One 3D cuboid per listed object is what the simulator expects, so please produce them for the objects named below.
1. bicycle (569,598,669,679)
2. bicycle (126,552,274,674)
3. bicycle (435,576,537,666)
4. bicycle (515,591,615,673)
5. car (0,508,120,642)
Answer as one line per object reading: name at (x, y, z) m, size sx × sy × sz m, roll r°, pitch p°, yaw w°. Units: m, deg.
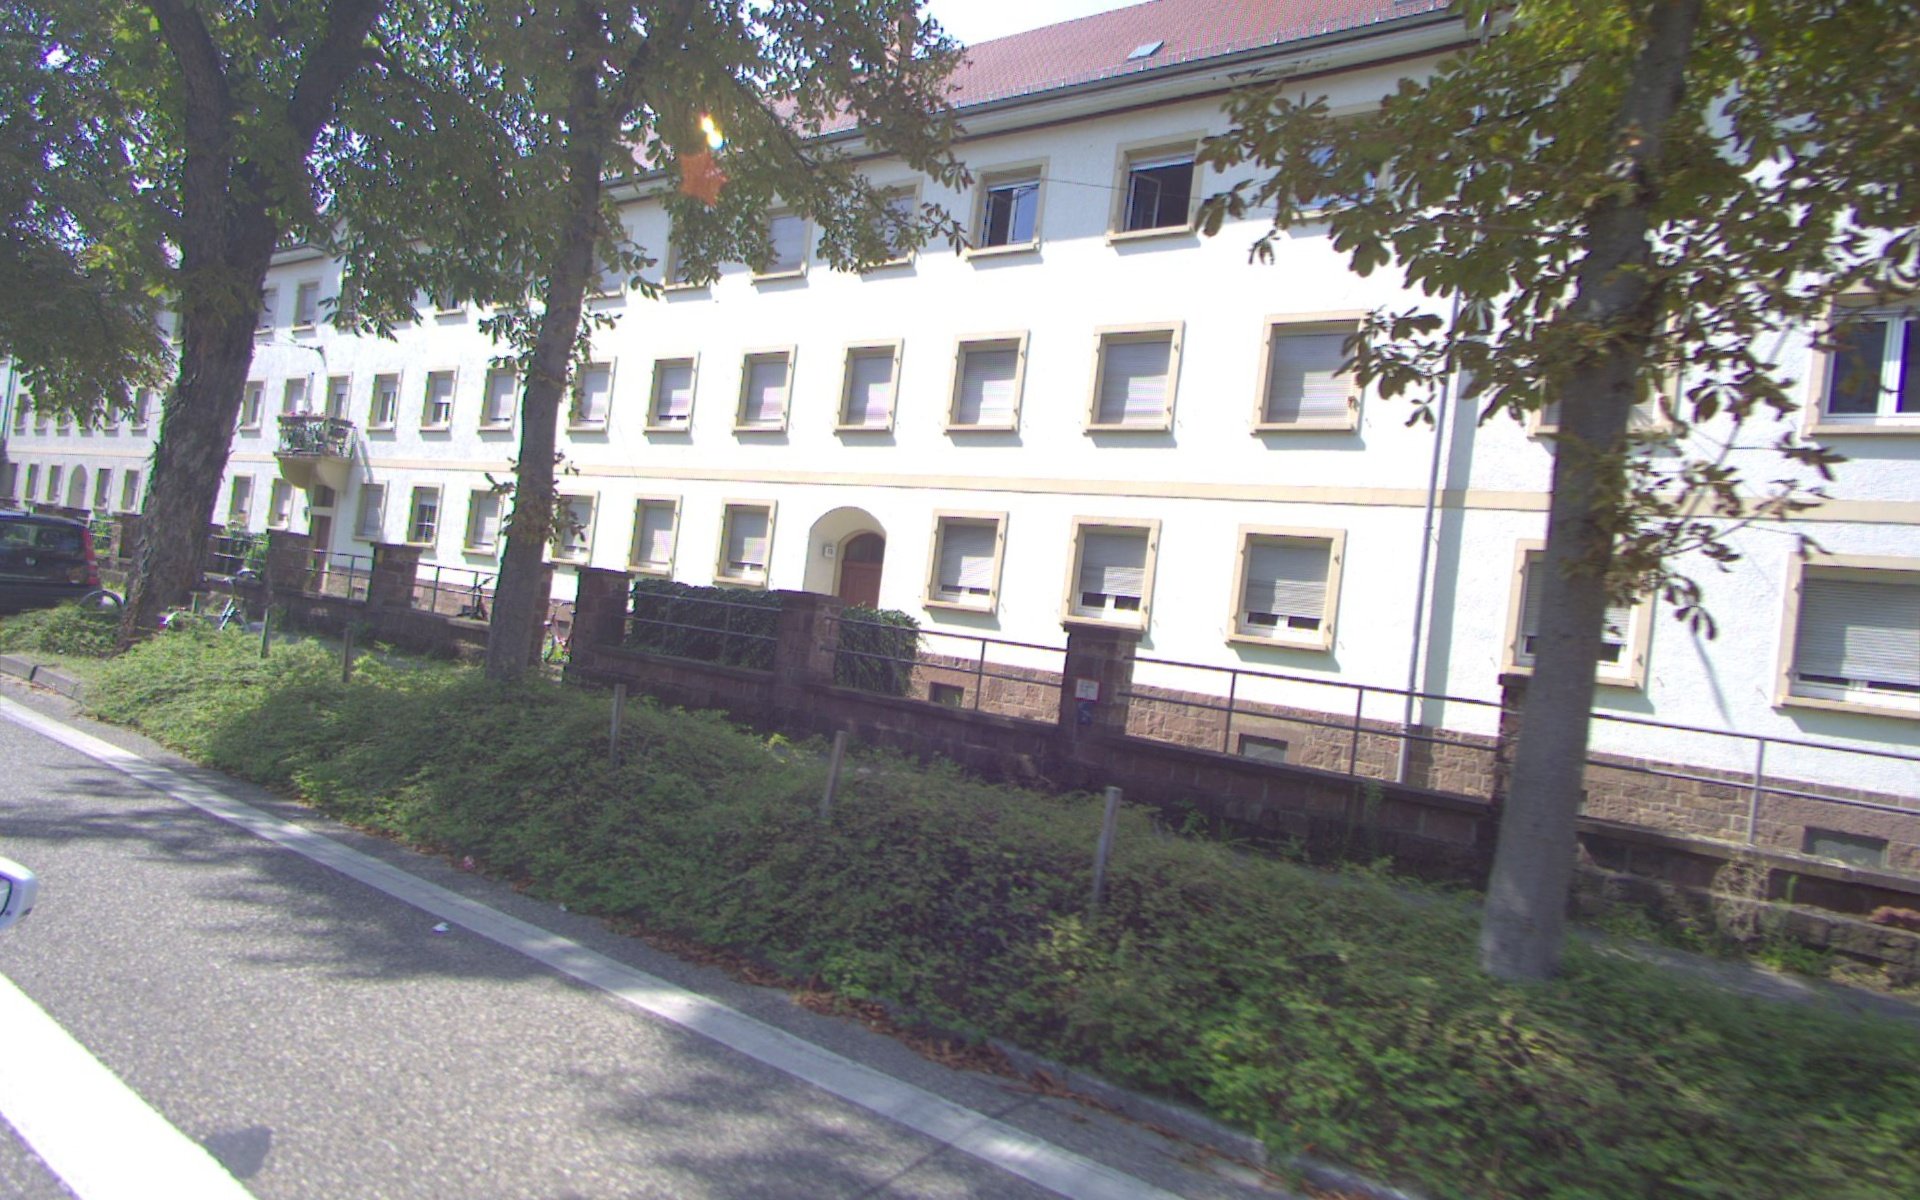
bicycle at (-5.584, 0.614, 16.430) m, size 1.689 × 1.106 × 0.469 m, roll 6°, pitch -1°, yaw 32°
bicycle at (-7.781, 0.146, 10.365) m, size 0.382 × 1.121 × 1.392 m, roll 7°, pitch -1°, yaw -3°
bicycle at (-7.343, 0.314, 15.557) m, size 1.689 × 1.174 × 0.469 m, roll 6°, pitch -1°, yaw 32°
bicycle at (-6.354, 0.498, 16.151) m, size 1.689 × 1.106 × 0.469 m, roll 6°, pitch -1°, yaw 32°
car at (-12.824, -0.442, 13.534) m, size 3.448 × 1.548 × 1.616 m, roll 6°, pitch -1°, yaw 39°
